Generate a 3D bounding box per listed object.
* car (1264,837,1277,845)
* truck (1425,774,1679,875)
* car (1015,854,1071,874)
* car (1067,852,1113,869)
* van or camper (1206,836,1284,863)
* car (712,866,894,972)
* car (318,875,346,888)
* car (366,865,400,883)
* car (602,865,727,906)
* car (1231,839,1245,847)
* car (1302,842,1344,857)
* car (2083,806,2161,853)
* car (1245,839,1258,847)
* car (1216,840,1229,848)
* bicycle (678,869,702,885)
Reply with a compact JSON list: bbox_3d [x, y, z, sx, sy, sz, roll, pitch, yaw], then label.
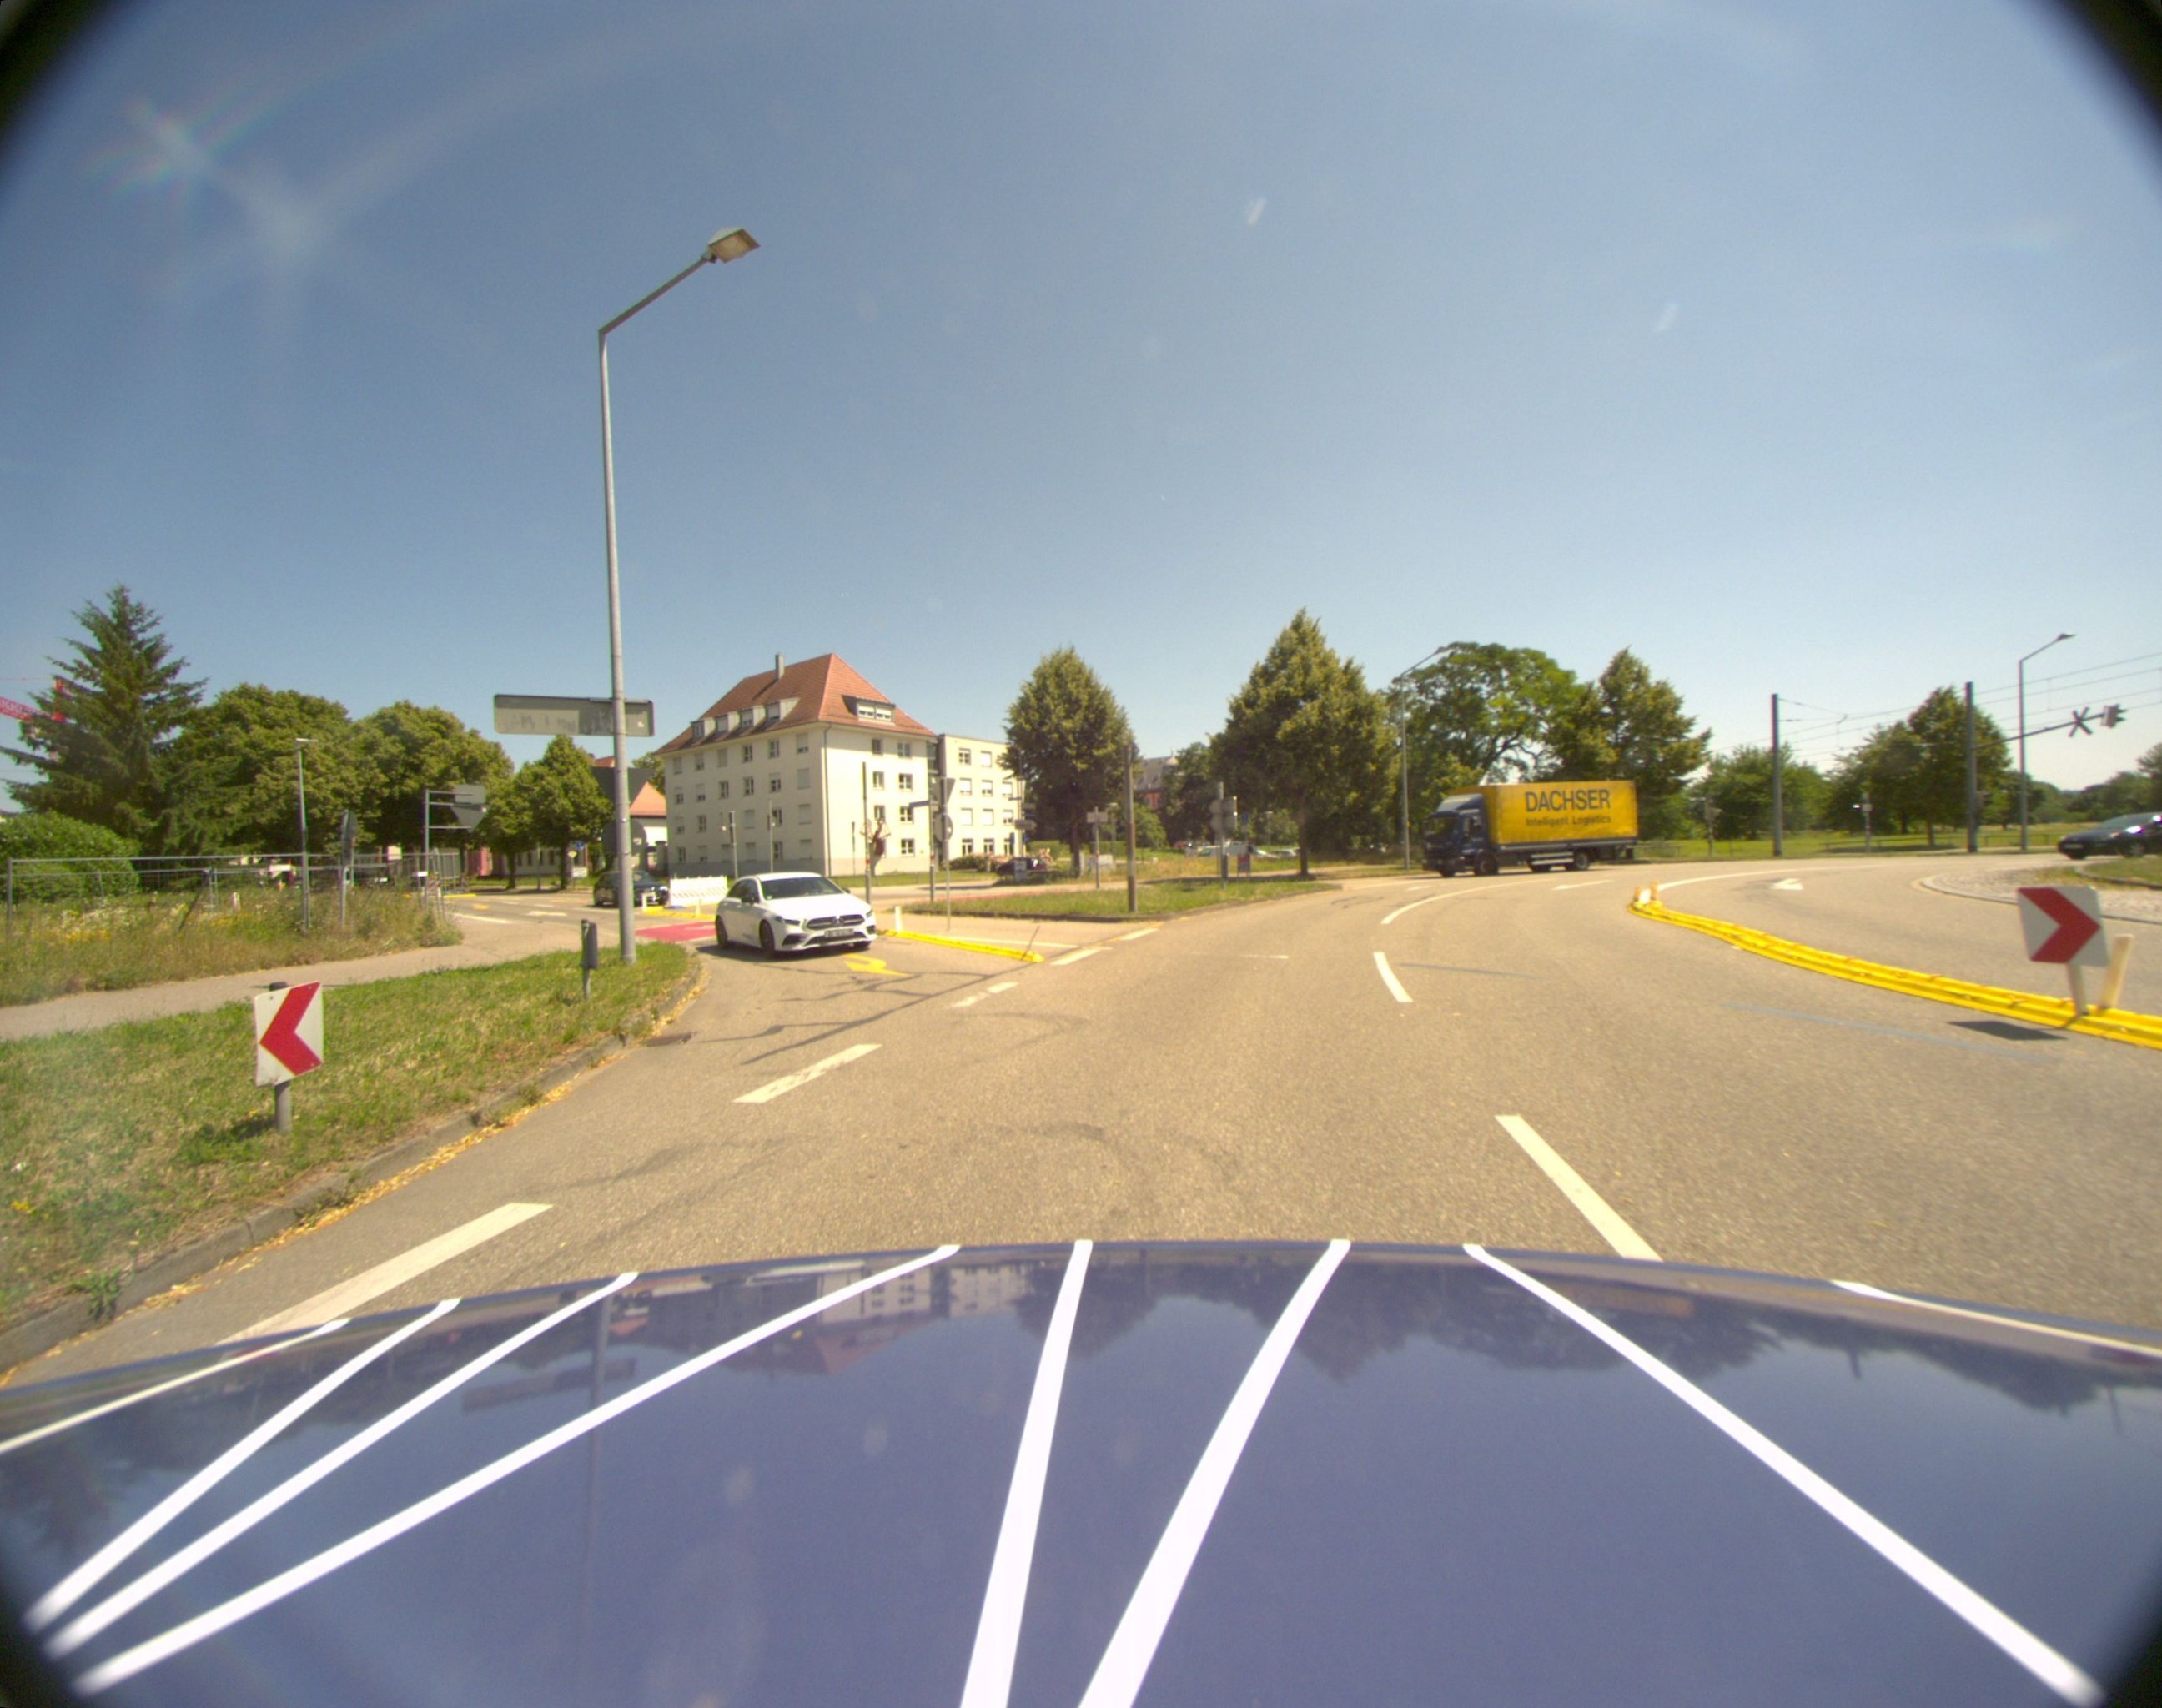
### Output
[{"bbox_3d":[35.902,-2.489,143.935,1.475,1.408,3.033,-2,1,32],"label":"car"},{"bbox_3d":[19.073,-1.211,30.824,9.619,3.638,2.704,-2,1,-13],"label":"truck"},{"bbox_3d":[-2.758,0.713,55.145,3.797,1.319,1.663,-2,1,37],"label":"car"},{"bbox_3d":[0.709,0.501,60.068,3.504,1.210,1.359,-2,1,37],"label":"car"},{"bbox_3d":[12.119,-0.312,56.425,5.258,1.846,2.004,-2,1,36],"label":"van or camper"},{"bbox_3d":[-5.140,1.043,13.757,1.784,1.537,3.952,-4,2,-40],"label":"car"},{"bbox_3d":[-89.963,3.293,91.255,3.879,1.374,1.647,-2,1,33],"label":"car"},{"bbox_3d":[-70.818,2.007,77.089,4.192,1.759,1.693,-1,-1,36],"label":"car"},{"bbox_3d":[-17.525,1.337,31.990,4.609,1.443,1.803,-2,3,17],"label":"car"},{"bbox_3d":[30.553,-2.107,147.807,1.475,1.408,3.033,-2,1,32],"label":"car"},{"bbox_3d":[22.484,-0.418,70.651,3.373,1.274,1.359,-1,1,44],"label":"car"},{"bbox_3d":[34.473,-0.826,23.450,3.994,1.410,1.981,-2,1,10],"label":"car"},{"bbox_3d":[32.864,-2.156,146.018,1.475,1.408,3.033,-2,1,32],"label":"car"},{"bbox_3d":[27.637,-2.002,148.676,1.475,1.408,3.033,-2,1,32],"label":"car"},{"bbox_3d":[-26.566,1.562,51.655,1.980,1.019,0.711,-1,4,42],"label":"bicycle"}]
